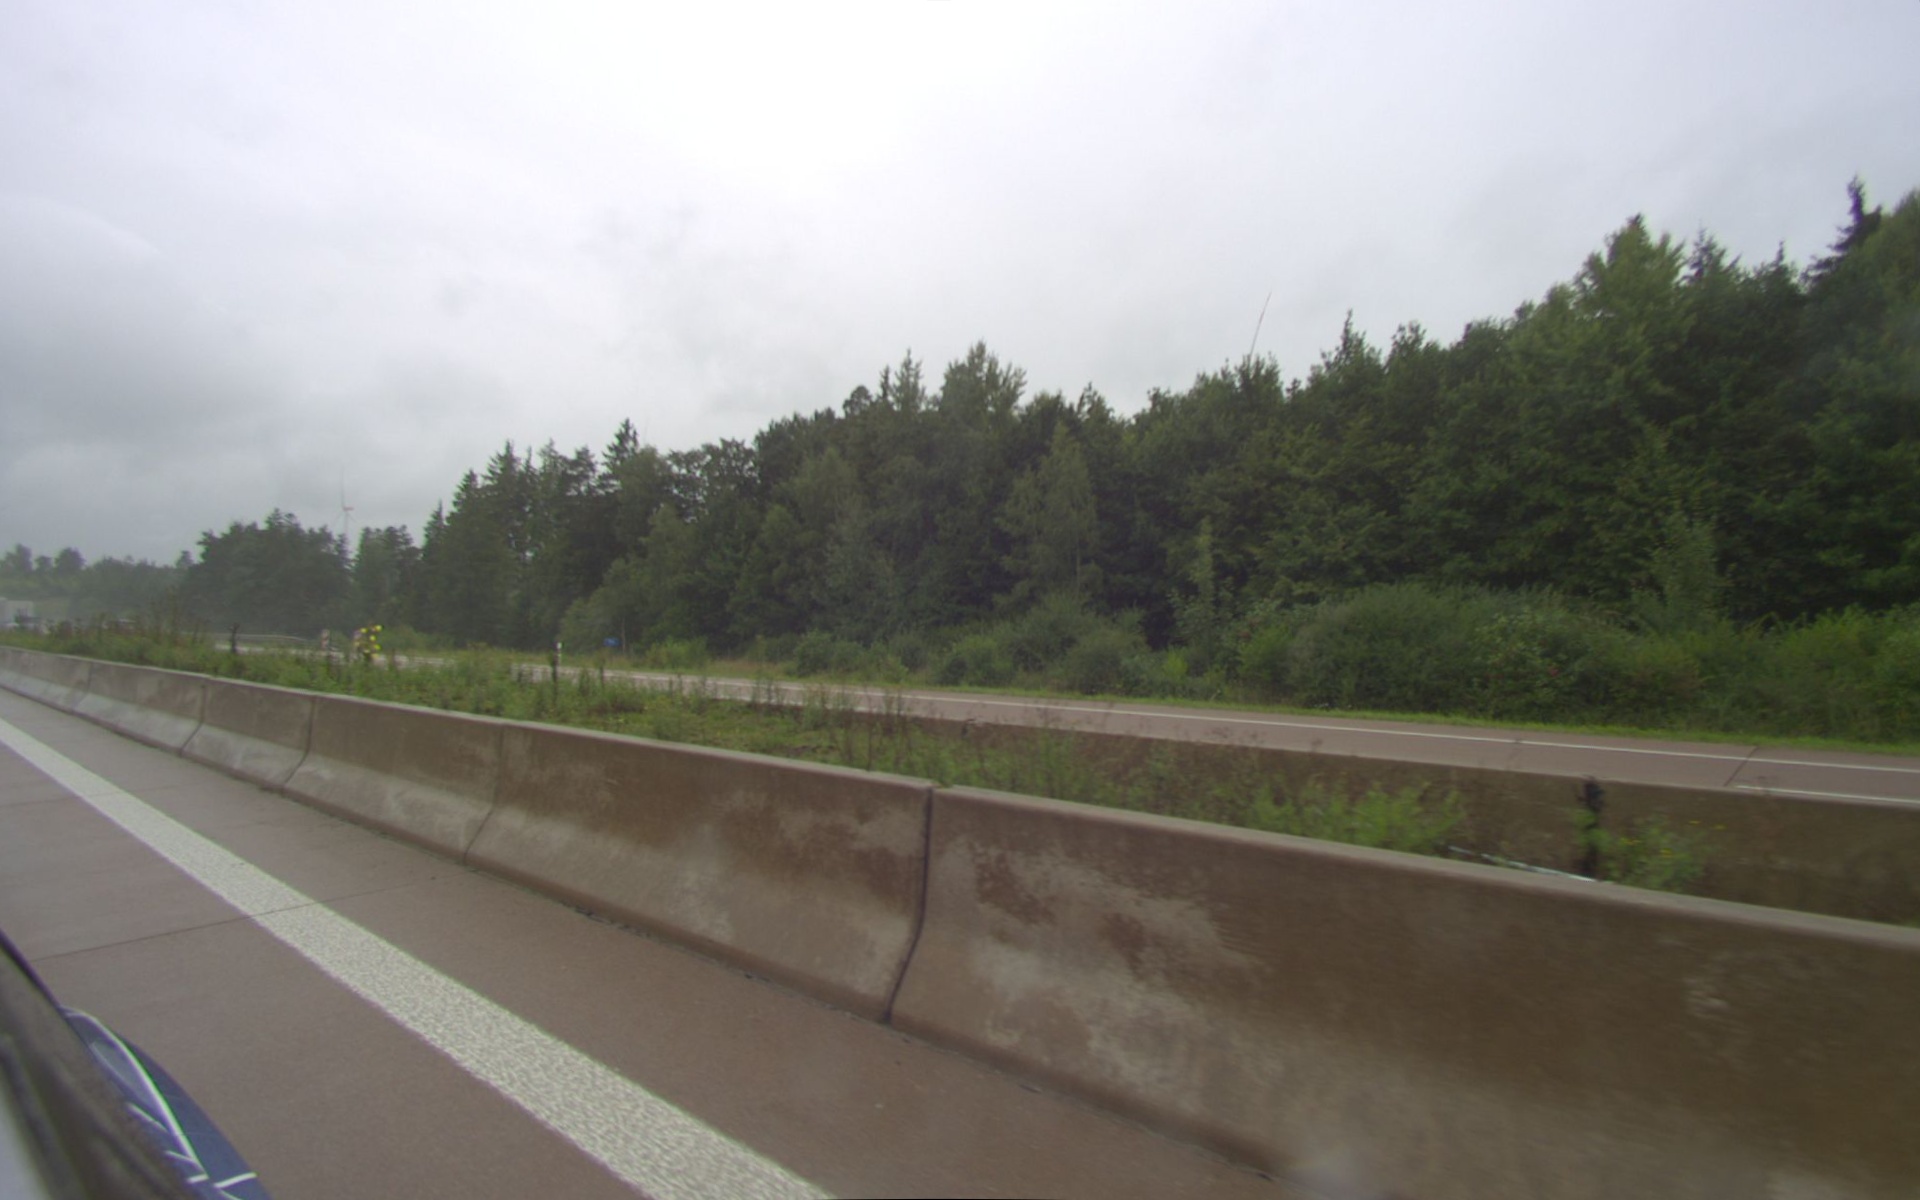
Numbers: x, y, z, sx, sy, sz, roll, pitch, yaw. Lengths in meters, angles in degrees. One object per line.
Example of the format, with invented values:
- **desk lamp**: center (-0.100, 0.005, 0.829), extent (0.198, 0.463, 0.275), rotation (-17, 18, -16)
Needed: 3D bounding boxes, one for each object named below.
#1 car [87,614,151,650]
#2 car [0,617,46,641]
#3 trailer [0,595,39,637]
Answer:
- **car**: center (-49.477, 1.880, 59.523), extent (4.796, 2.029, 2.067), rotation (-1, -3, 41)
- **car**: center (-82.565, 2.562, 89.184), extent (5.659, 2.029, 2.282), rotation (-1, -3, 41)
- **trailer**: center (-118.830, 2.001, 127.560), extent (3.711, 4.990, 13.692), rotation (-1, 0, -44)
